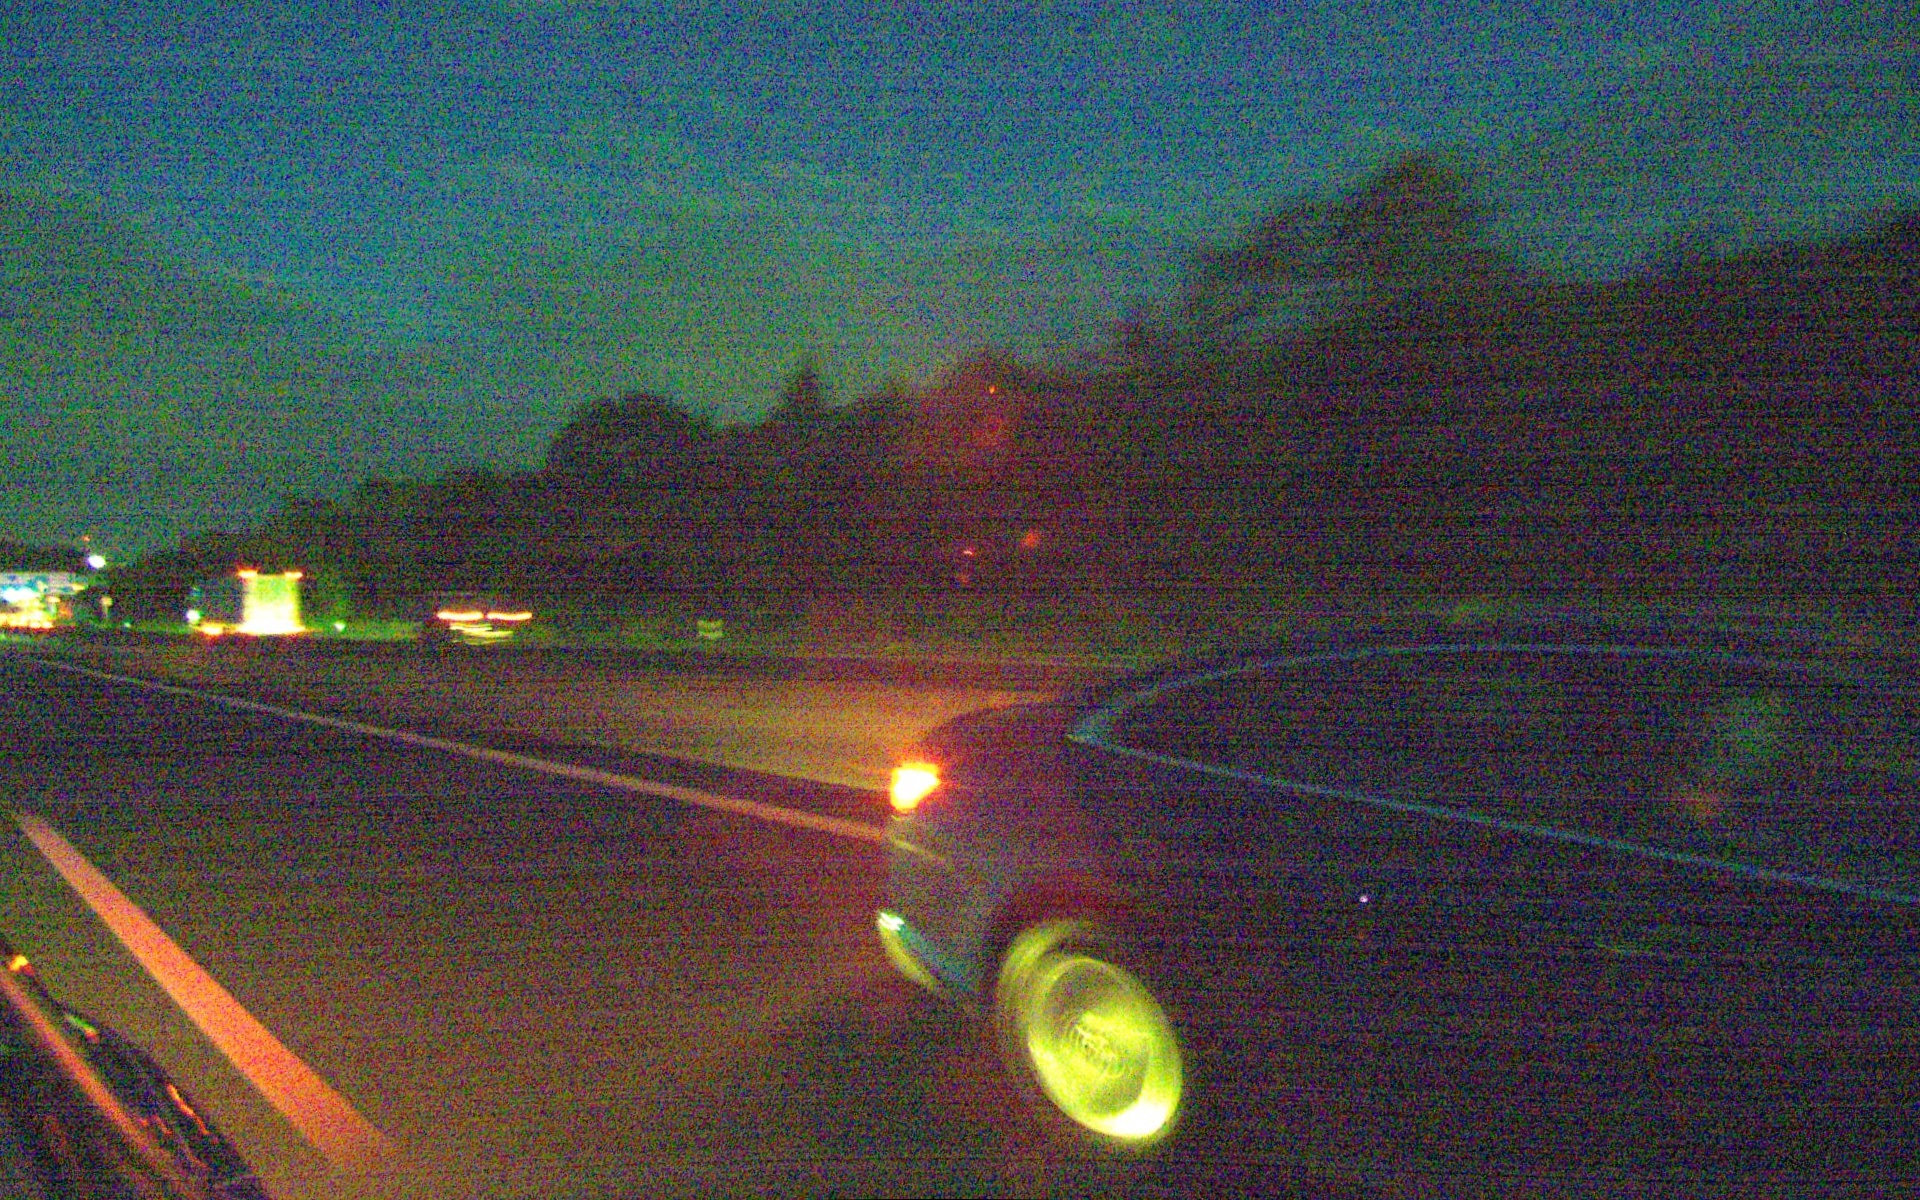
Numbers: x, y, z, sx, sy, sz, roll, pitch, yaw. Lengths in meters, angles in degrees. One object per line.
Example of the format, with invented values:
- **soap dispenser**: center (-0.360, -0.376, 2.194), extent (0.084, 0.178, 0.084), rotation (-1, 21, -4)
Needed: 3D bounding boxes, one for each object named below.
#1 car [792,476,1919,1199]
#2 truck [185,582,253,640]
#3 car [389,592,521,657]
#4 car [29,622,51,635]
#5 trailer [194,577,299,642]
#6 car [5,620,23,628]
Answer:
- **car**: center (2.244, 0.567, 2.027), extent (5.648, 1.530, 1.972), rotation (-2, -1, 42)
- **truck**: center (-53.626, 0.828, 73.211), extent (5.858, 4.010, 2.824), rotation (-1, -1, 42)
- **car**: center (-17.715, 0.835, 35.353), extent (5.713, 2.117, 2.220), rotation (-1, -1, 42)
- **car**: center (-126.161, 3.892, 138.800), extent (4.950, 1.682, 1.988), rotation (-2, -1, 44)
- **trailer**: center (-48.582, 0.708, 68.653), extent (13.882, 4.010, 2.823), rotation (-1, -1, 42)
- **car**: center (-165.835, 4.195, 177.371), extent (4.208, 1.478, 1.988), rotation (-1, -1, 43)
